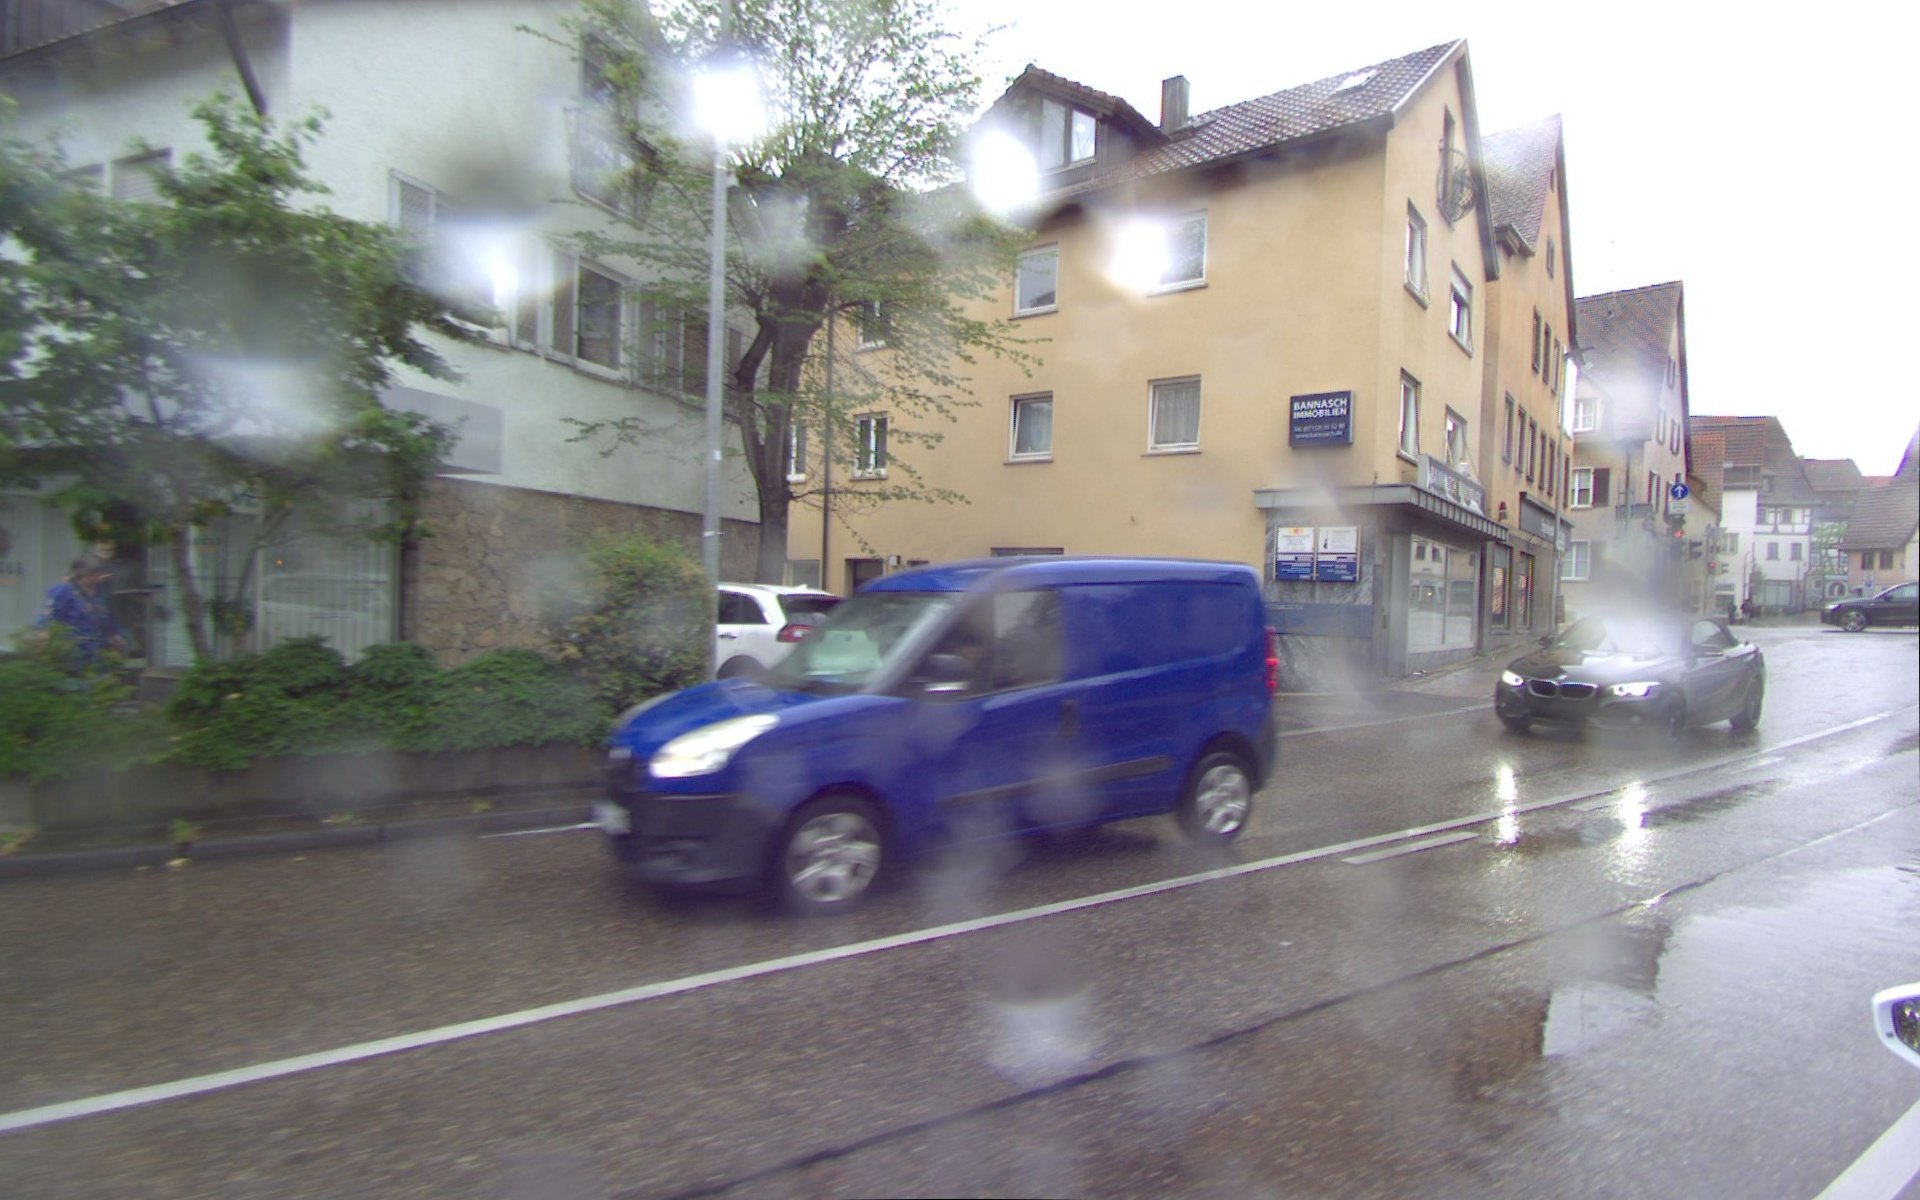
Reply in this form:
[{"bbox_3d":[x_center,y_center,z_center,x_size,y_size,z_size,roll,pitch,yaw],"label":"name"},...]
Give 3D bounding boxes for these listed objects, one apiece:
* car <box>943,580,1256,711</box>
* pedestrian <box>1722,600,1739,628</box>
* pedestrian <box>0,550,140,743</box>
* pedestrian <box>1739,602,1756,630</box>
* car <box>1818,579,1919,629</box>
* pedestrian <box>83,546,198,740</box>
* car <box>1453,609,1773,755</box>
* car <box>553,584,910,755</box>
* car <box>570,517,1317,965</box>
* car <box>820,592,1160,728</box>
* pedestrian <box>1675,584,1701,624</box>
[{"bbox_3d":[2.281,0.821,17.180,4.857,1.849,1.955,-6,-2,36],"label":"car"},{"bbox_3d":[48.538,0.862,63.273,0.771,1.755,0.627,-1,1,43],"label":"pedestrian"},{"bbox_3d":[-8.145,0.402,9.202,0.845,1.694,0.618,1,1,17],"label":"pedestrian"},{"bbox_3d":[49.140,1.009,62.697,0.771,1.755,0.627,-1,1,43],"label":"pedestrian"},{"bbox_3d":[31.449,0.125,33.185,4.681,1.609,1.820,-1,0,42],"label":"car"},{"bbox_3d":[-8.106,0.406,9.952,0.659,1.844,0.618,1,1,16],"label":"pedestrian"},{"bbox_3d":[7.879,0.833,11.996,4.221,1.406,1.848,0,1,-36],"label":"car"},{"bbox_3d":[-2.634,0.680,11.608,3.579,1.651,1.997,1,0,28],"label":"car"},{"bbox_3d":[0.053,0.644,6.341,4.334,1.907,1.980,2,0,-35],"label":"car"},{"bbox_3d":[0.342,0.645,12.822,3.930,1.473,1.895,1,1,32],"label":"car"},{"bbox_3d":[34.805,0.172,48.027,0.783,1.855,0.714,-3,0,24],"label":"pedestrian"}]
